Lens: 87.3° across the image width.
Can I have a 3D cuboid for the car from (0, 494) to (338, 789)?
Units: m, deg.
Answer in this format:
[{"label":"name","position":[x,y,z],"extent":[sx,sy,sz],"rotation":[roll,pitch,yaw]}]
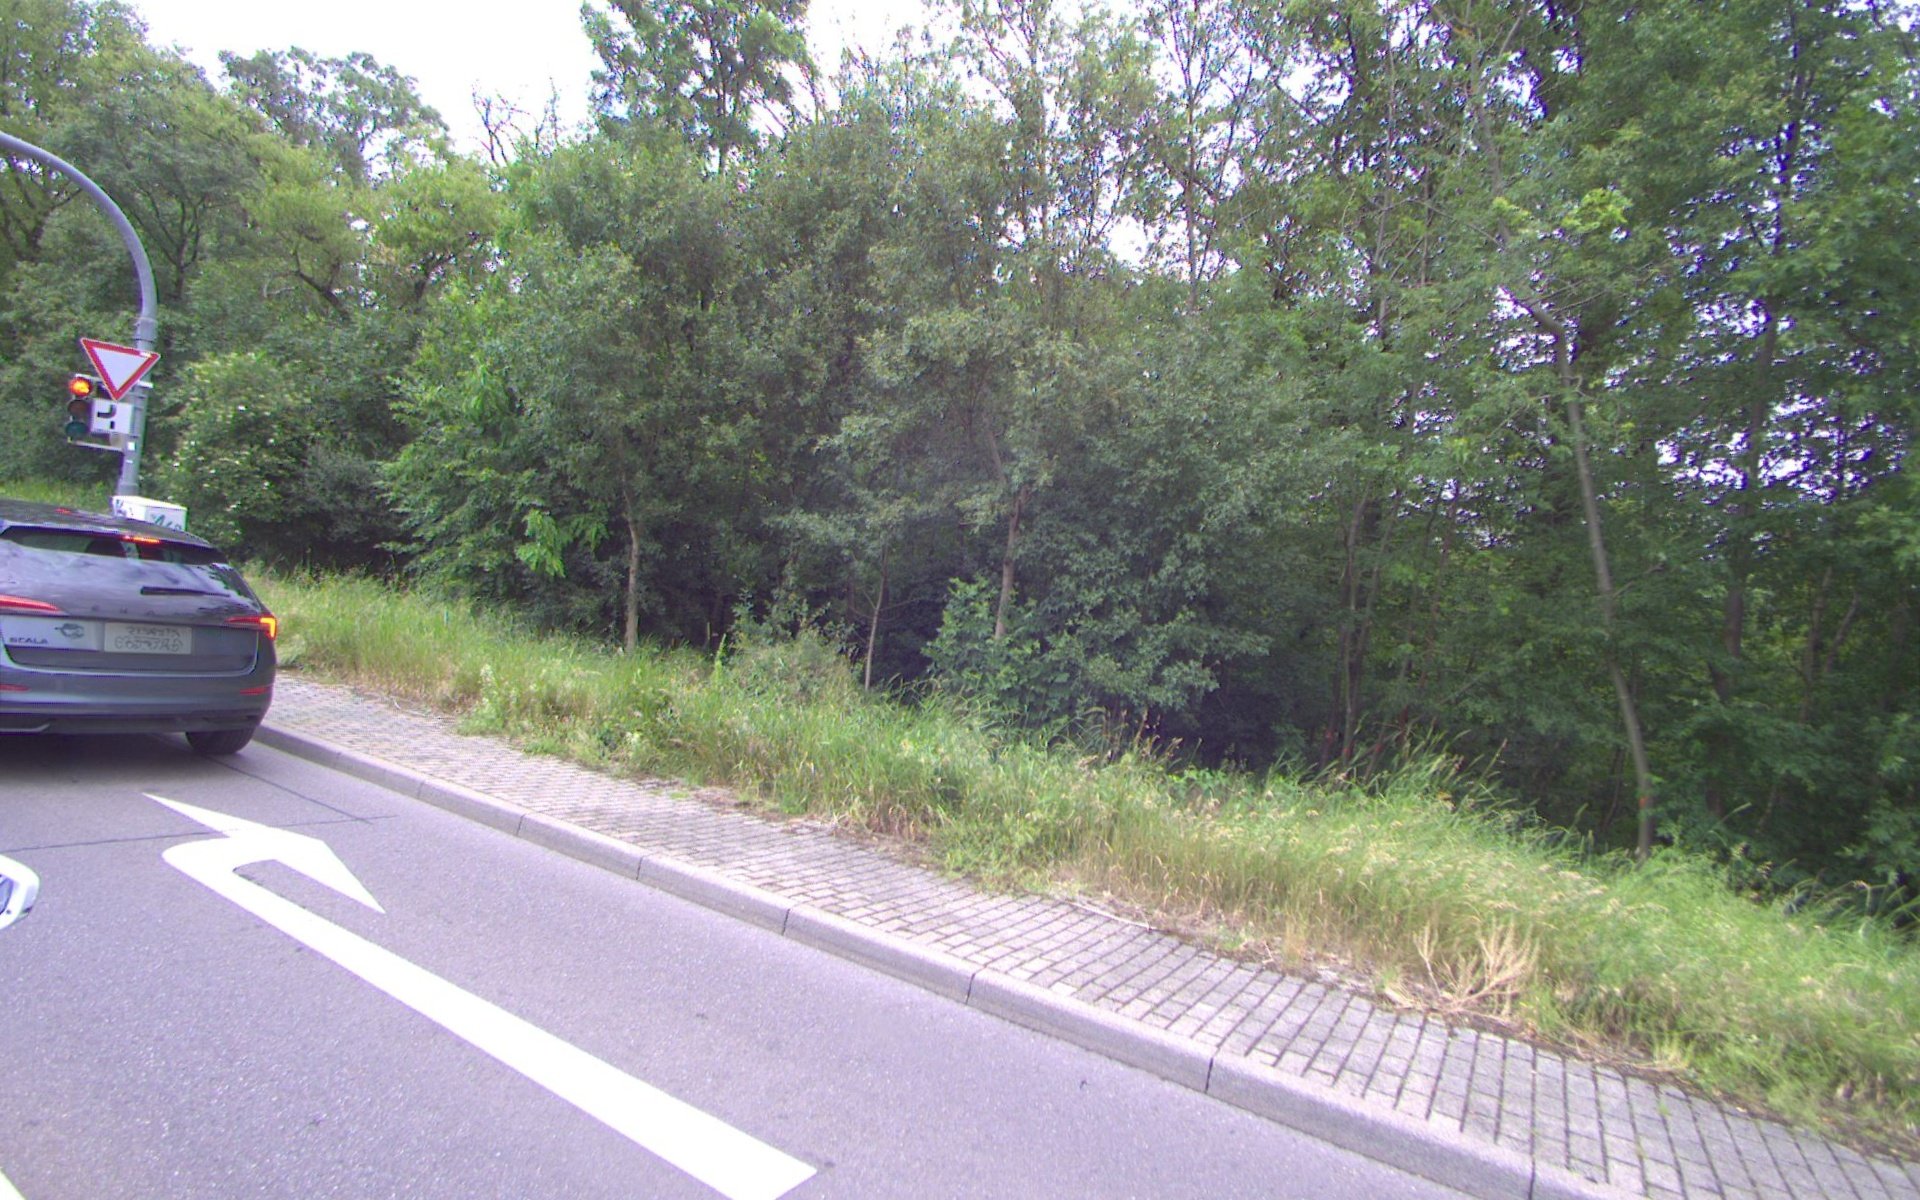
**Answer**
[{"label":"car","position":[-6.138,0.071,6.582],"extent":[3.933,1.468,1.796],"rotation":[7,-1,31]}]
